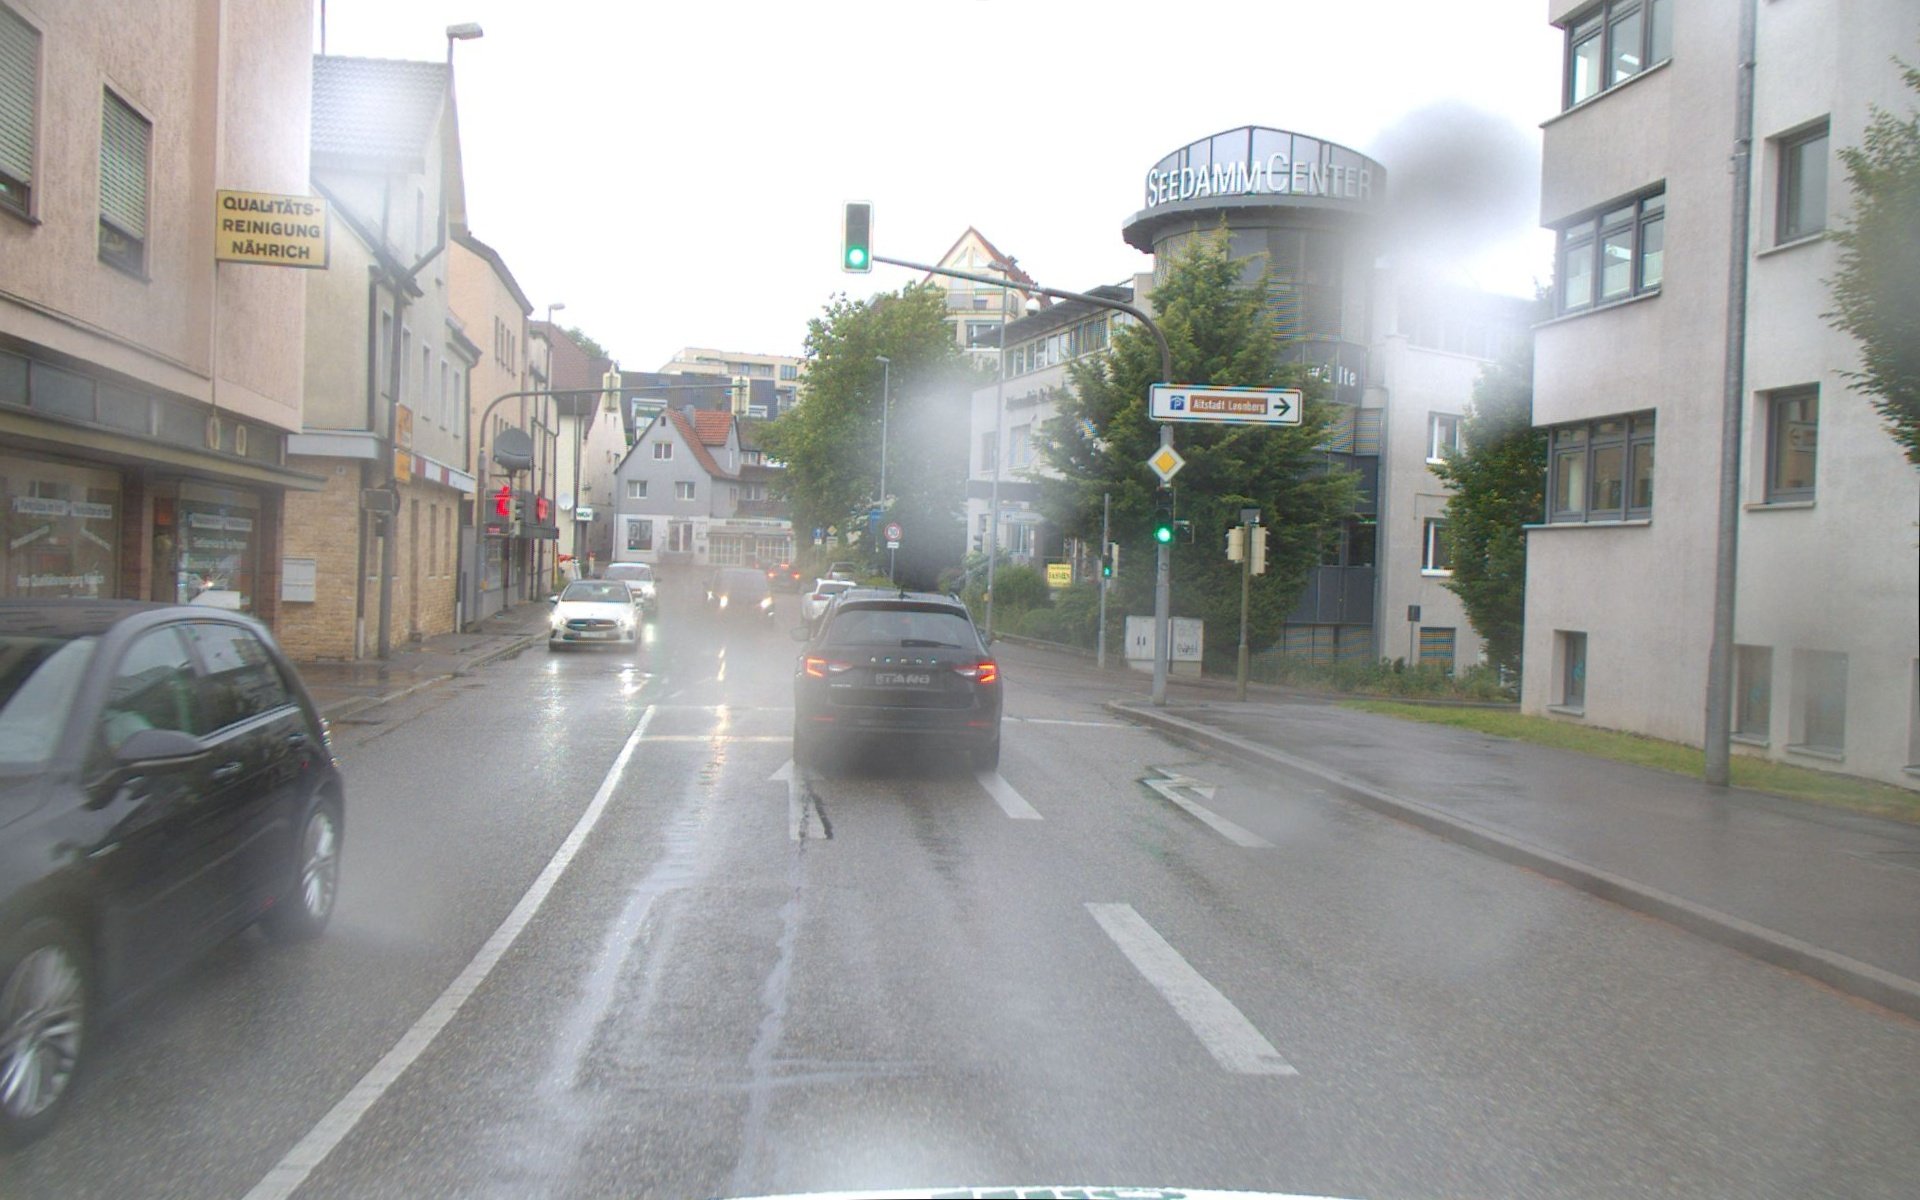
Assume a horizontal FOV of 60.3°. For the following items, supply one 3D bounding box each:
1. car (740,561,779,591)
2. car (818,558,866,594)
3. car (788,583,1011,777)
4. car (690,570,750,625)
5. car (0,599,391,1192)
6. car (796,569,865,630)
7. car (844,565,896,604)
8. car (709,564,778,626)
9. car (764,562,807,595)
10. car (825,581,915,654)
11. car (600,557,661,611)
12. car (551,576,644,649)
[{"bbox_3d":[-11.946,-1.439,98.449,1.860,1.711,3.675,1,0,-13],"label":"car"},{"bbox_3d":[-5.743,-1.171,80.378,1.819,1.670,3.860,1,1,-12],"label":"car"},{"bbox_3d":[-0.683,0.626,15.289,1.747,1.509,4.241,1,0,-6],"label":"car"},{"bbox_3d":[-7.900,-0.123,54.094,1.752,1.589,4.392,3,1,-10],"label":"car"},{"bbox_3d":[-3.332,0.711,5.635,1.736,1.426,3.914,1,0,-5],"label":"car"},{"bbox_3d":[-3.932,0.025,49.756,1.696,1.618,4.175,3,-2,-8],"label":"car"},{"bbox_3d":[-4.103,-0.700,74.639,1.819,1.670,3.528,1,1,-12],"label":"car"},{"bbox_3d":[-6.434,-0.102,48.906,1.752,1.590,4.390,3,-2,-10],"label":"car"},{"bbox_3d":[-8.814,-1.065,83.301,1.859,1.618,3.678,1,0,-11],"label":"car"},{"bbox_3d":[-1.952,0.329,35.477,1.782,1.383,3.987,2,1,-4],"label":"car"},{"bbox_3d":[-10.429,-0.549,52.585,1.752,1.587,4.327,1,2,-10],"label":"car"},{"bbox_3d":[-7.592,0.225,34.927,1.659,1.396,4.105,0,1,-9],"label":"car"}]
